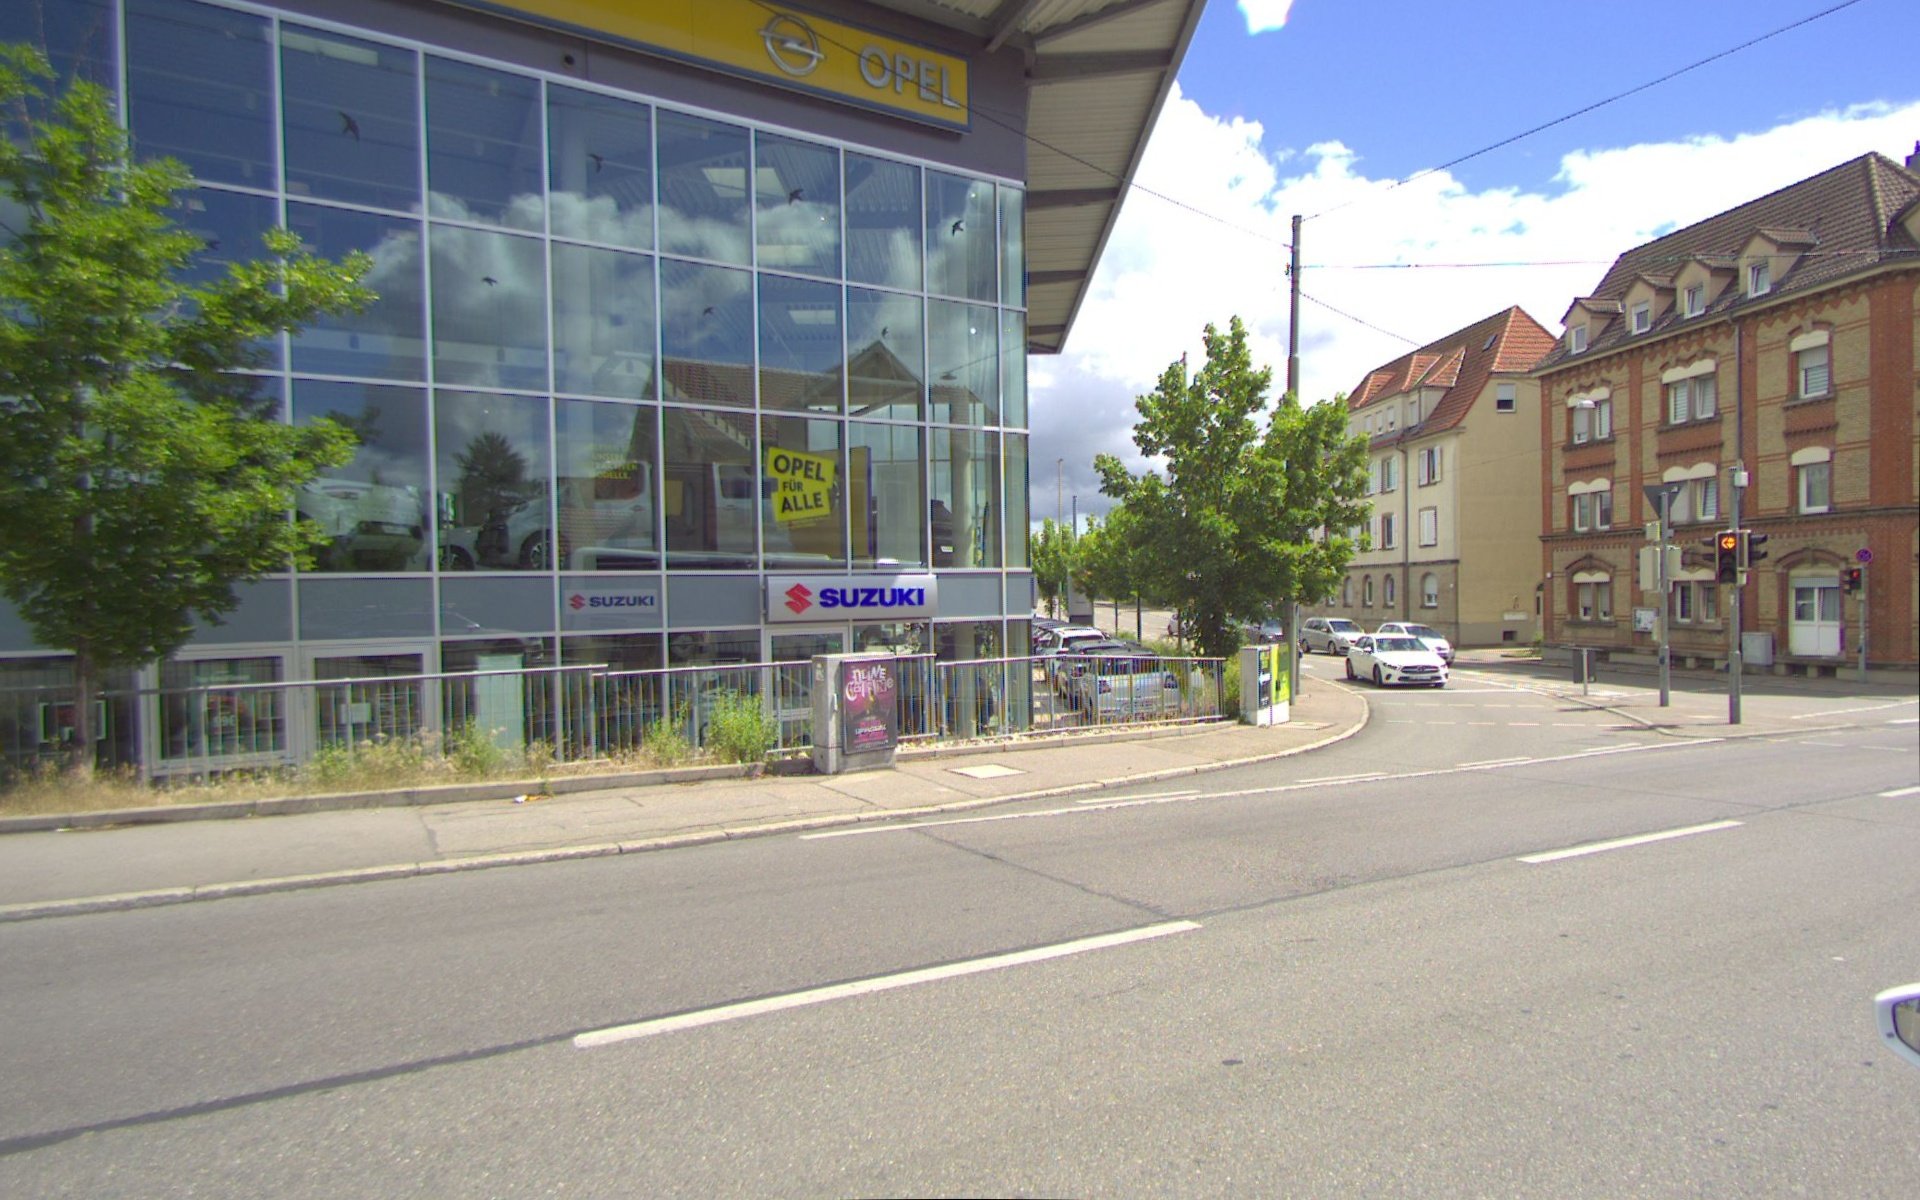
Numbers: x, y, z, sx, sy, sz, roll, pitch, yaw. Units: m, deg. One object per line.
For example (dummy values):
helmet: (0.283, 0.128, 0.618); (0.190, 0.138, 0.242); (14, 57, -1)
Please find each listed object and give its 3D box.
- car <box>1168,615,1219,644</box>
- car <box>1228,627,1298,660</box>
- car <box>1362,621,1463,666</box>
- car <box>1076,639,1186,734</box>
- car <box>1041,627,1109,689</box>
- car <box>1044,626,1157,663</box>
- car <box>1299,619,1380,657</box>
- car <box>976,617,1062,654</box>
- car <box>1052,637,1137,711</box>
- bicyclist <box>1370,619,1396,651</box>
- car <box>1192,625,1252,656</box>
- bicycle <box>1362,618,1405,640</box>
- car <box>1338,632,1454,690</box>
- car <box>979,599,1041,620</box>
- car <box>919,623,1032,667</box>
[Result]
car: (14.107, 1.766, 60.927); (1.961, 1.607, 4.345); (1, 0, -2)
car: (15.332, 2.184, 51.014); (1.963, 1.539, 3.996); (1, -1, -7)
car: (17.061, 1.607, 38.082); (1.670, 1.517, 3.995); (1, -1, -7)
car: (3.391, 1.687, 20.547); (1.720, 1.596, 3.687); (2, -1, 3)
car: (3.277, 1.632, 29.090); (1.487, 1.596, 3.414); (1, -1, -2)
car: (5.164, 1.632, 37.206); (3.921, 1.202, 1.818); (1, -1, 0)
car: (16.734, 1.641, 44.507); (1.715, 1.539, 3.996); (1, -1, -7)
car: (2.647, 1.585, 45.864); (1.974, 1.599, 4.476); (1, -1, -26)
car: (3.227, 1.753, 24.696); (1.487, 1.543, 3.792); (1, -1, -2)
bicyclist: (20.328, 1.661, 48.295); (0.581, 1.519, 1.069); (1, -1, -21)
car: (14.697, 2.269, 56.561); (1.963, 1.664, 3.996); (1, -1, -7)
bicycle: (20.335, 1.400, 48.280); (0.597, 1.033, 2.181); (1, -1, -21)
car: (12.366, 1.683, 28.769); (1.825, 1.466, 4.394); (1, -1, 6)
car: (3.272, 0.632, 66.284); (3.921, 1.311, 1.818); (1, -1, 0)
car: (0.597, 1.650, 37.261); (3.919, 1.478, 1.605); (1, -1, 15)
